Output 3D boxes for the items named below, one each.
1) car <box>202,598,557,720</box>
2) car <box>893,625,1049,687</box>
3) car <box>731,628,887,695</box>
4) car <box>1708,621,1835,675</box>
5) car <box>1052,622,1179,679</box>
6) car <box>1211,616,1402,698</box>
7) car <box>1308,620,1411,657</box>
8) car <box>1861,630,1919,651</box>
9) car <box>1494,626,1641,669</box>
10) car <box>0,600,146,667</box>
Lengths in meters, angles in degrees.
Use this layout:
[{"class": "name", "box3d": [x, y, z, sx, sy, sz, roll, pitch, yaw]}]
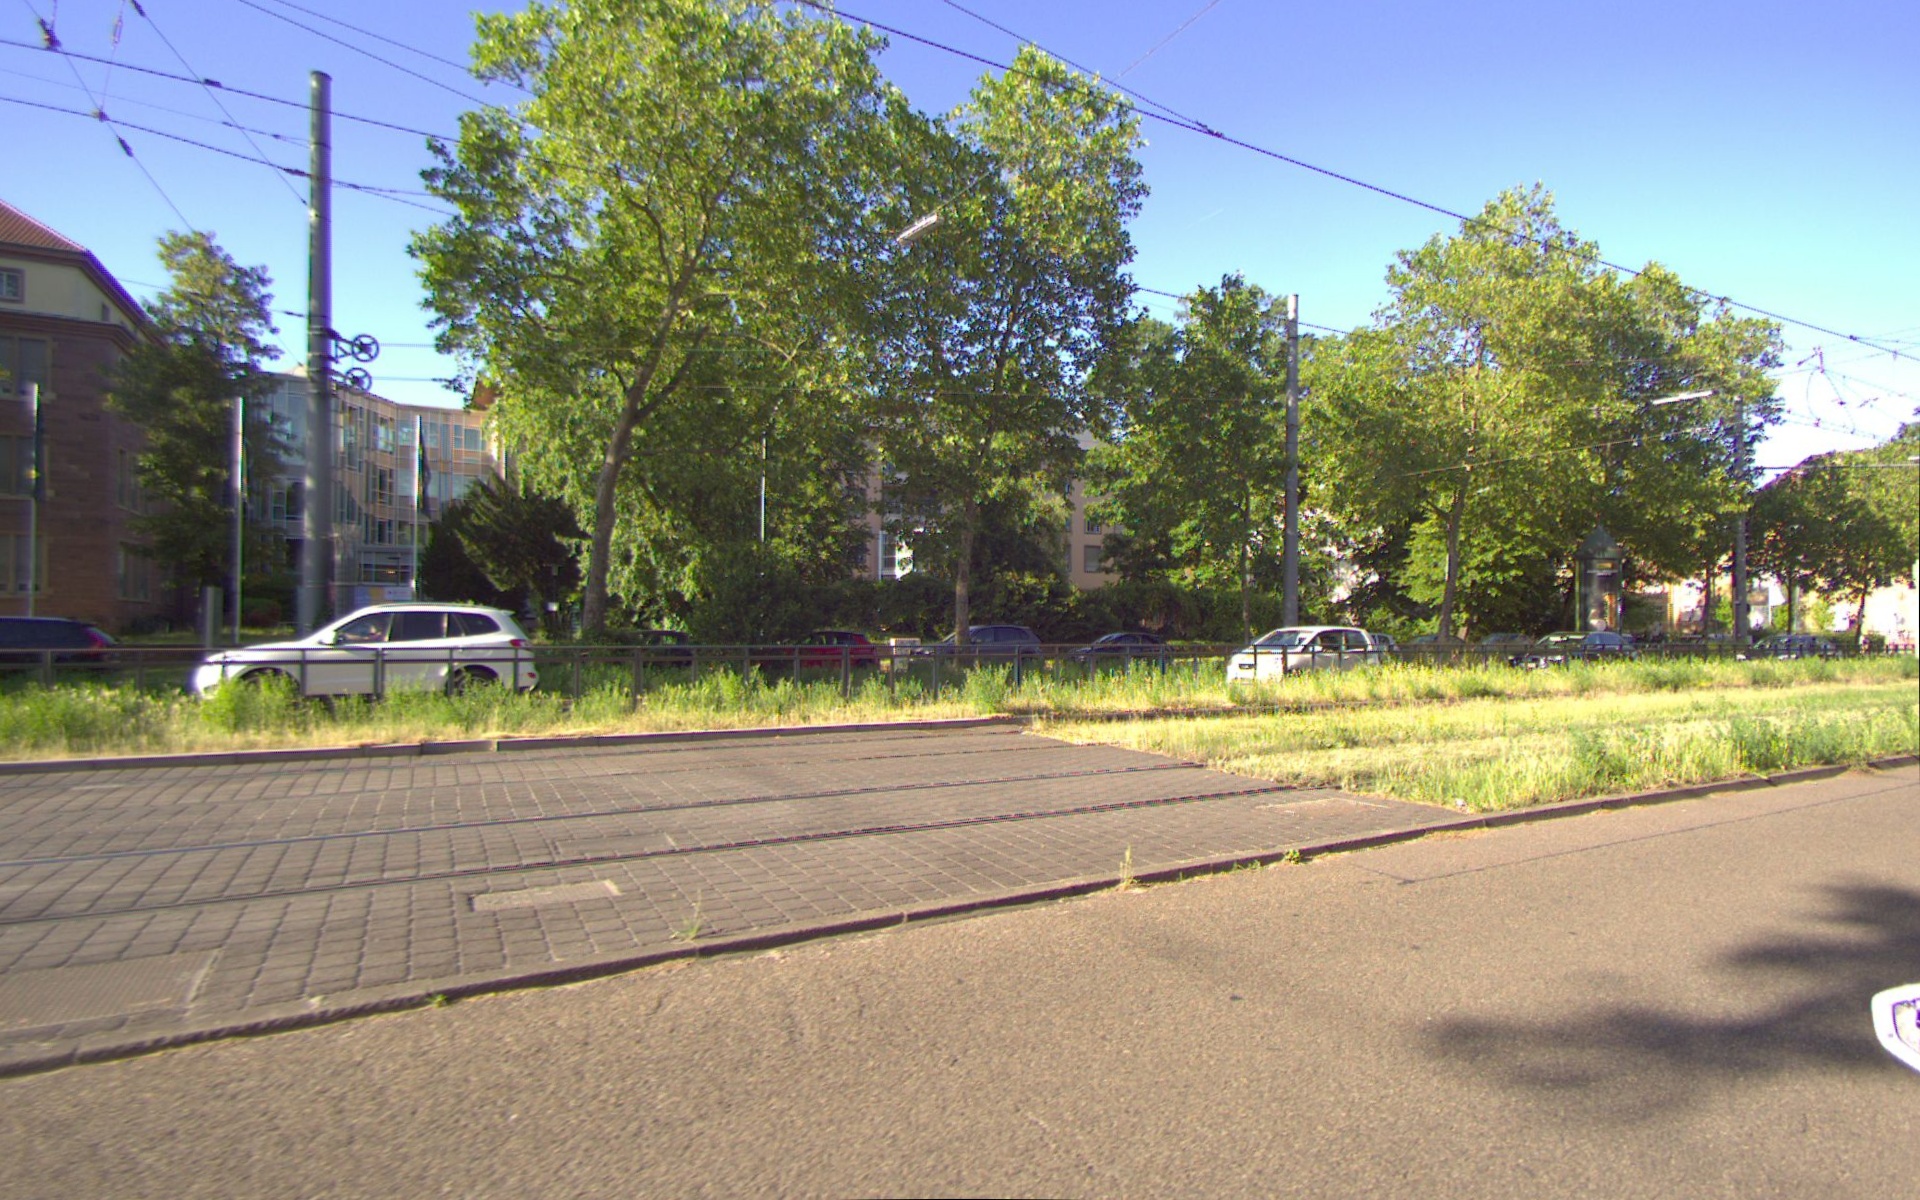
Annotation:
[{"class": "car", "box3d": [-8.850, 0.830, 15.690, 4.543, 1.641, 1.877, 1, 1, -30]}, {"class": "car", "box3d": [0.372, 1.672, 31.050, 4.463, 1.706, 1.983, 1, 1, -32]}, {"class": "car", "box3d": [-4.268, 1.680, 28.487, 3.954, 1.644, 1.983, 1, 1, -31]}, {"class": "car", "box3d": [26.074, 1.490, 32.248, 3.997, 1.573, 1.786, 1, 1, -29]}, {"class": "car", "box3d": [5.218, 1.642, 33.633, 3.953, 1.706, 1.812, 1, 1, -30]}, {"class": "car", "box3d": [7.447, 1.155, 21.520, 3.830, 1.550, 1.835, 1, 1, -31]}, {"class": "car", "box3d": [15.544, 1.463, 39.110, 3.734, 1.330, 1.761, 1, 1, -29]}, {"class": "car", "box3d": [59.528, 2.591, 64.174, 3.952, 1.194, 1.784, 2, 0, -29]}, {"class": "car", "box3d": [18.538, 1.412, 30.588, 4.647, 1.150, 1.683, 1, 1, -28]}, {"class": "car", "box3d": [-18.702, 0.638, 19.706, 3.976, 1.240, 1.587, 2, 0, -29]}]
